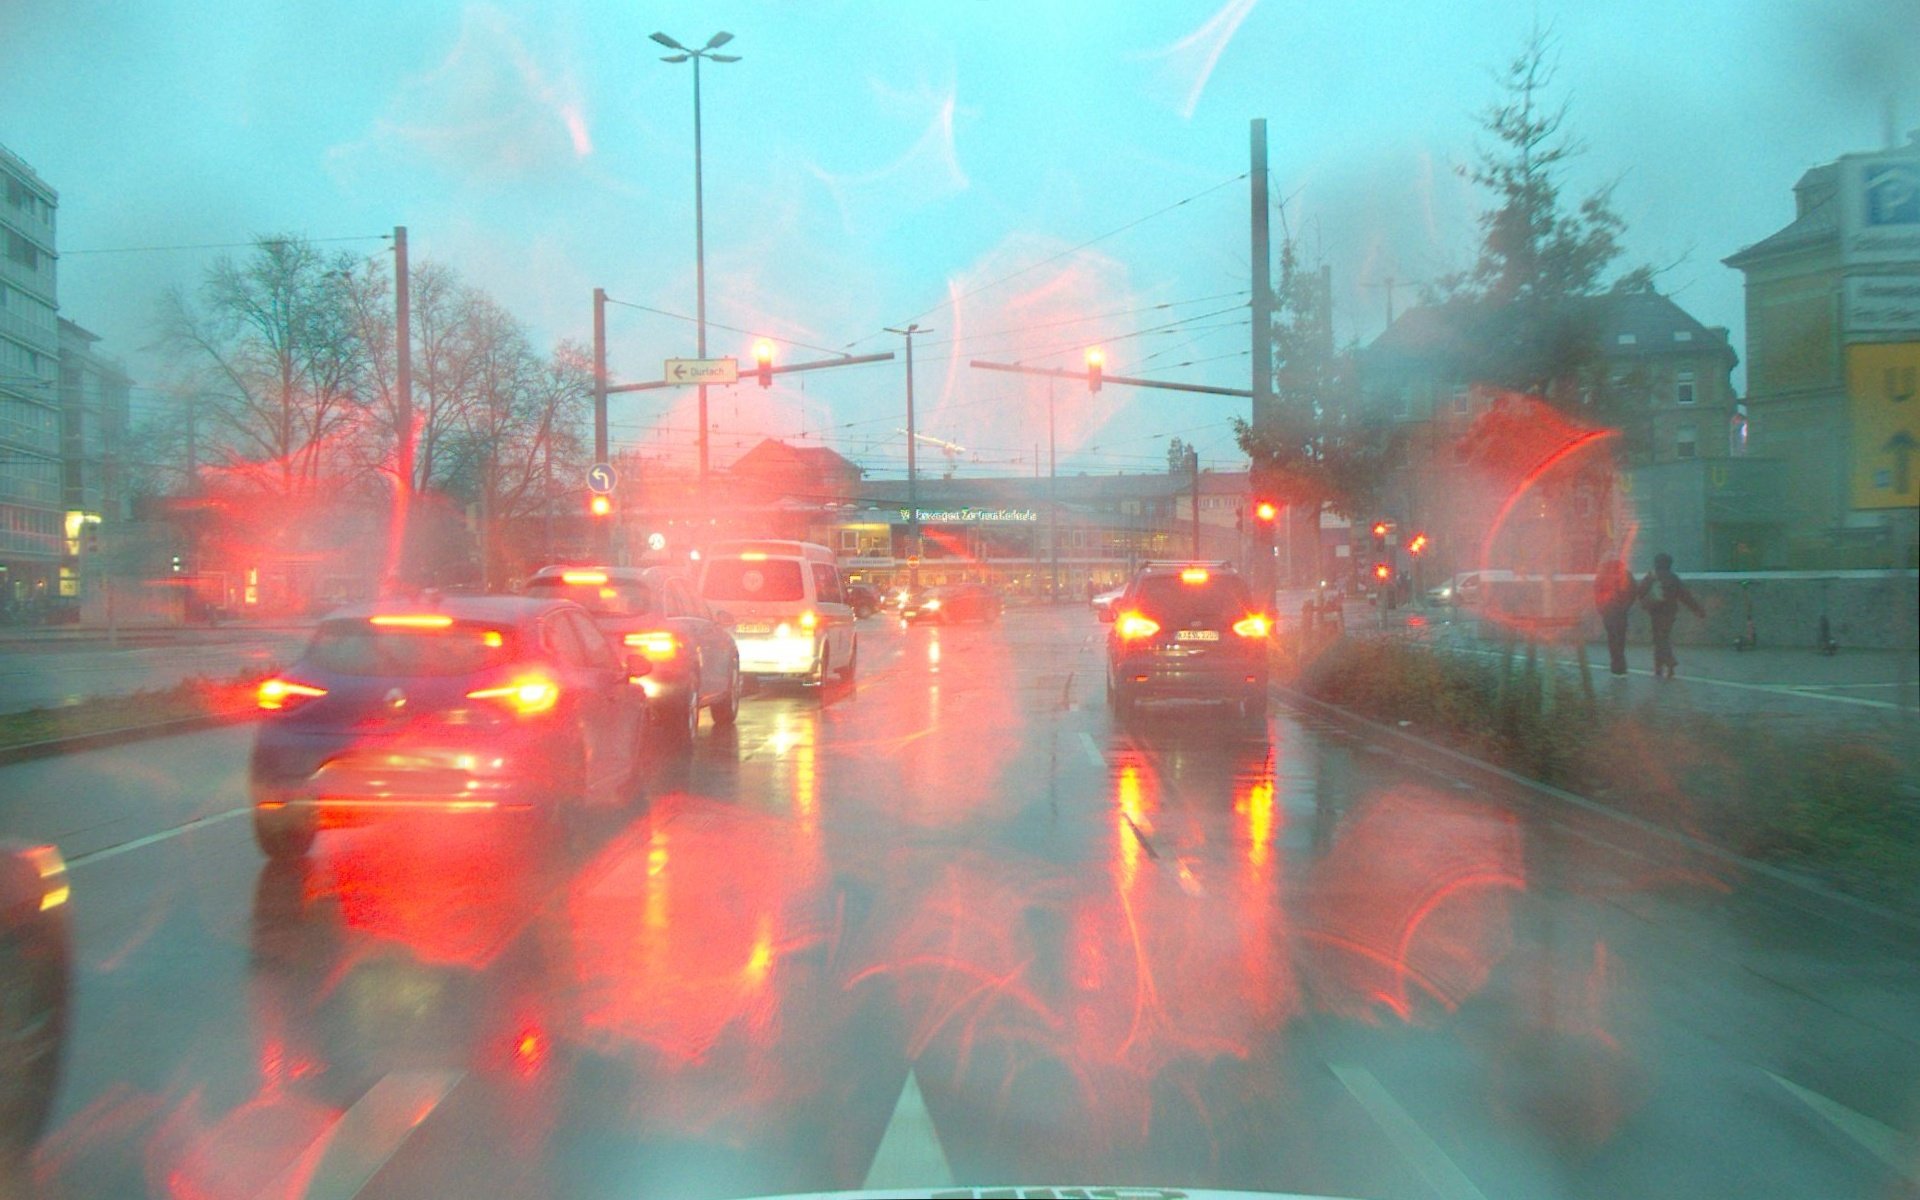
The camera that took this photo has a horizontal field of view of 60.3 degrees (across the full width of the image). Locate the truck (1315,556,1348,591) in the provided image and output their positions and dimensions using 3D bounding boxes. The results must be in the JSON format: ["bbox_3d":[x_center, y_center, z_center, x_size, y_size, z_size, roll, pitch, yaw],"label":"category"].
[{"bbox_3d":[29.674,-2.102,131.909,1.952,2.738,5.117,-1,0,19],"label":"truck"}]

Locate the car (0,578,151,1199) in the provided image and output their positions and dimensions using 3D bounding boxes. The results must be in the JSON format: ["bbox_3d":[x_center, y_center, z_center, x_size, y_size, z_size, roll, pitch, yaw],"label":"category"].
[{"bbox_3d":[-3.006,0.689,2.727,1.667,1.507,3.868,2,0,-5],"label":"car"}]

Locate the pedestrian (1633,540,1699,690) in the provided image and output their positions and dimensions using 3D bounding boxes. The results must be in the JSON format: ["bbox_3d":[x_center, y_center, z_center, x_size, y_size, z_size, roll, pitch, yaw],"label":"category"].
[{"bbox_3d":[9.910,0.186,23.216,0.791,2.048,0.759,1,3,26],"label":"pedestrian"}]

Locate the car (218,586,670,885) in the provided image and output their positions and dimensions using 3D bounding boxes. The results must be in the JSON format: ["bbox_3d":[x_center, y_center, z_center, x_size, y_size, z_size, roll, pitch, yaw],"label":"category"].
[{"bbox_3d":[-2.864,0.655,10.108,1.626,1.428,4.118,1,0,-3],"label":"car"}]

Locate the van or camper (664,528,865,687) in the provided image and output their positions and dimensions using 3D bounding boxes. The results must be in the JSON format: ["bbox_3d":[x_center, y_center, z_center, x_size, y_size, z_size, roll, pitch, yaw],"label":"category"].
[{"bbox_3d":[-2.797,0.090,24.977,2.155,2.146,4.989,1,0,3],"label":"van or camper"}]

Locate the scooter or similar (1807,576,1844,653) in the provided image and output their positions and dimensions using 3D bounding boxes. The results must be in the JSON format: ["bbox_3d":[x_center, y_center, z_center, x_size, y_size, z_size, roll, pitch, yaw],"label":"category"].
[{"bbox_3d":[14.279,0.227,27.285,0.503,1.235,1.381,-1,0,28],"label":"scooter or similar"}]

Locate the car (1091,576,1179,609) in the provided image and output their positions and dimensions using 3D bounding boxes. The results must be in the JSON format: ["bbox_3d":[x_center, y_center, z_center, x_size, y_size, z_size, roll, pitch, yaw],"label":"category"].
[{"bbox_3d":[7.972,-0.341,75.346,3.728,1.390,1.850,-1,0,-3],"label":"car"}]

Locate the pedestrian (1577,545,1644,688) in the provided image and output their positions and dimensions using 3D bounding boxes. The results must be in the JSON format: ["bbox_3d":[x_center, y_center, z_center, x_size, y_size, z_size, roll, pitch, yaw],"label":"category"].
[{"bbox_3d":[9.196,0.212,23.376,0.791,1.963,0.759,1,3,26],"label":"pedestrian"}]

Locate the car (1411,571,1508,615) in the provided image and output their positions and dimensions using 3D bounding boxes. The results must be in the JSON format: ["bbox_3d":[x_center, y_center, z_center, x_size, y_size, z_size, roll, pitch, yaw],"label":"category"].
[{"bbox_3d":[24.589,-0.343,81.564,4.309,2.049,1.913,-1,0,10],"label":"car"}]

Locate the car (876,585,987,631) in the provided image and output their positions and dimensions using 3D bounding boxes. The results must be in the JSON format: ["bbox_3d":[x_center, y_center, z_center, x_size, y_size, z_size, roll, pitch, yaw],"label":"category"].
[{"bbox_3d":[-0.996,0.270,59.203,1.960,1.541,3.985,-1,1,36],"label":"car"}]

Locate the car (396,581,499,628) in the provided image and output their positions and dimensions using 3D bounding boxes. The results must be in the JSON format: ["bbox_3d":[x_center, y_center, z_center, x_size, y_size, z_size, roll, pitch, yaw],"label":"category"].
[{"bbox_3d":[-20.989,0.176,67.744,3.928,1.803,1.988,-2,0,-20],"label":"car"}]

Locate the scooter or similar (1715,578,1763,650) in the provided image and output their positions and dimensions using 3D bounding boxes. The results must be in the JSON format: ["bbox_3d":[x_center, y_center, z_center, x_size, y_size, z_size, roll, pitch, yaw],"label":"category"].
[{"bbox_3d":[13.810,0.238,29.307,0.504,1.235,1.377,-1,0,37],"label":"scooter or similar"}]

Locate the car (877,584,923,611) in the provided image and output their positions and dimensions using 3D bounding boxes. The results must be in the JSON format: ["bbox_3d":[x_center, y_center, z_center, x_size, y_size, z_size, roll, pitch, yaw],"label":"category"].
[{"bbox_3d":[-3.466,-0.144,96.227,1.774,1.472,4.004,-1,0,11],"label":"car"}]

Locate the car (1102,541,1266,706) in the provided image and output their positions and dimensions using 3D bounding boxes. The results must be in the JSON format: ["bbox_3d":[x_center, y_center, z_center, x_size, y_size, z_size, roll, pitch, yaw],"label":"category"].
[{"bbox_3d":[2.685,0.233,20.626,1.740,1.831,4.427,0,1,4],"label":"car"}]

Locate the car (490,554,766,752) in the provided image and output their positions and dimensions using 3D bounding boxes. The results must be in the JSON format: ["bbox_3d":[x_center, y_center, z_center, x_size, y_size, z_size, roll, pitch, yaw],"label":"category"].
[{"bbox_3d":[-3.086,0.447,16.324,1.749,1.628,4.541,2,0,0],"label":"car"}]

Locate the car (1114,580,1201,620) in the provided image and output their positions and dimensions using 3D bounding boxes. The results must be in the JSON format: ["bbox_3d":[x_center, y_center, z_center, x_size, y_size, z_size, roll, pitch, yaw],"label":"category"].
[{"bbox_3d":[8.458,-0.017,70.584,1.961,1.630,3.984,-1,0,37],"label":"car"}]
